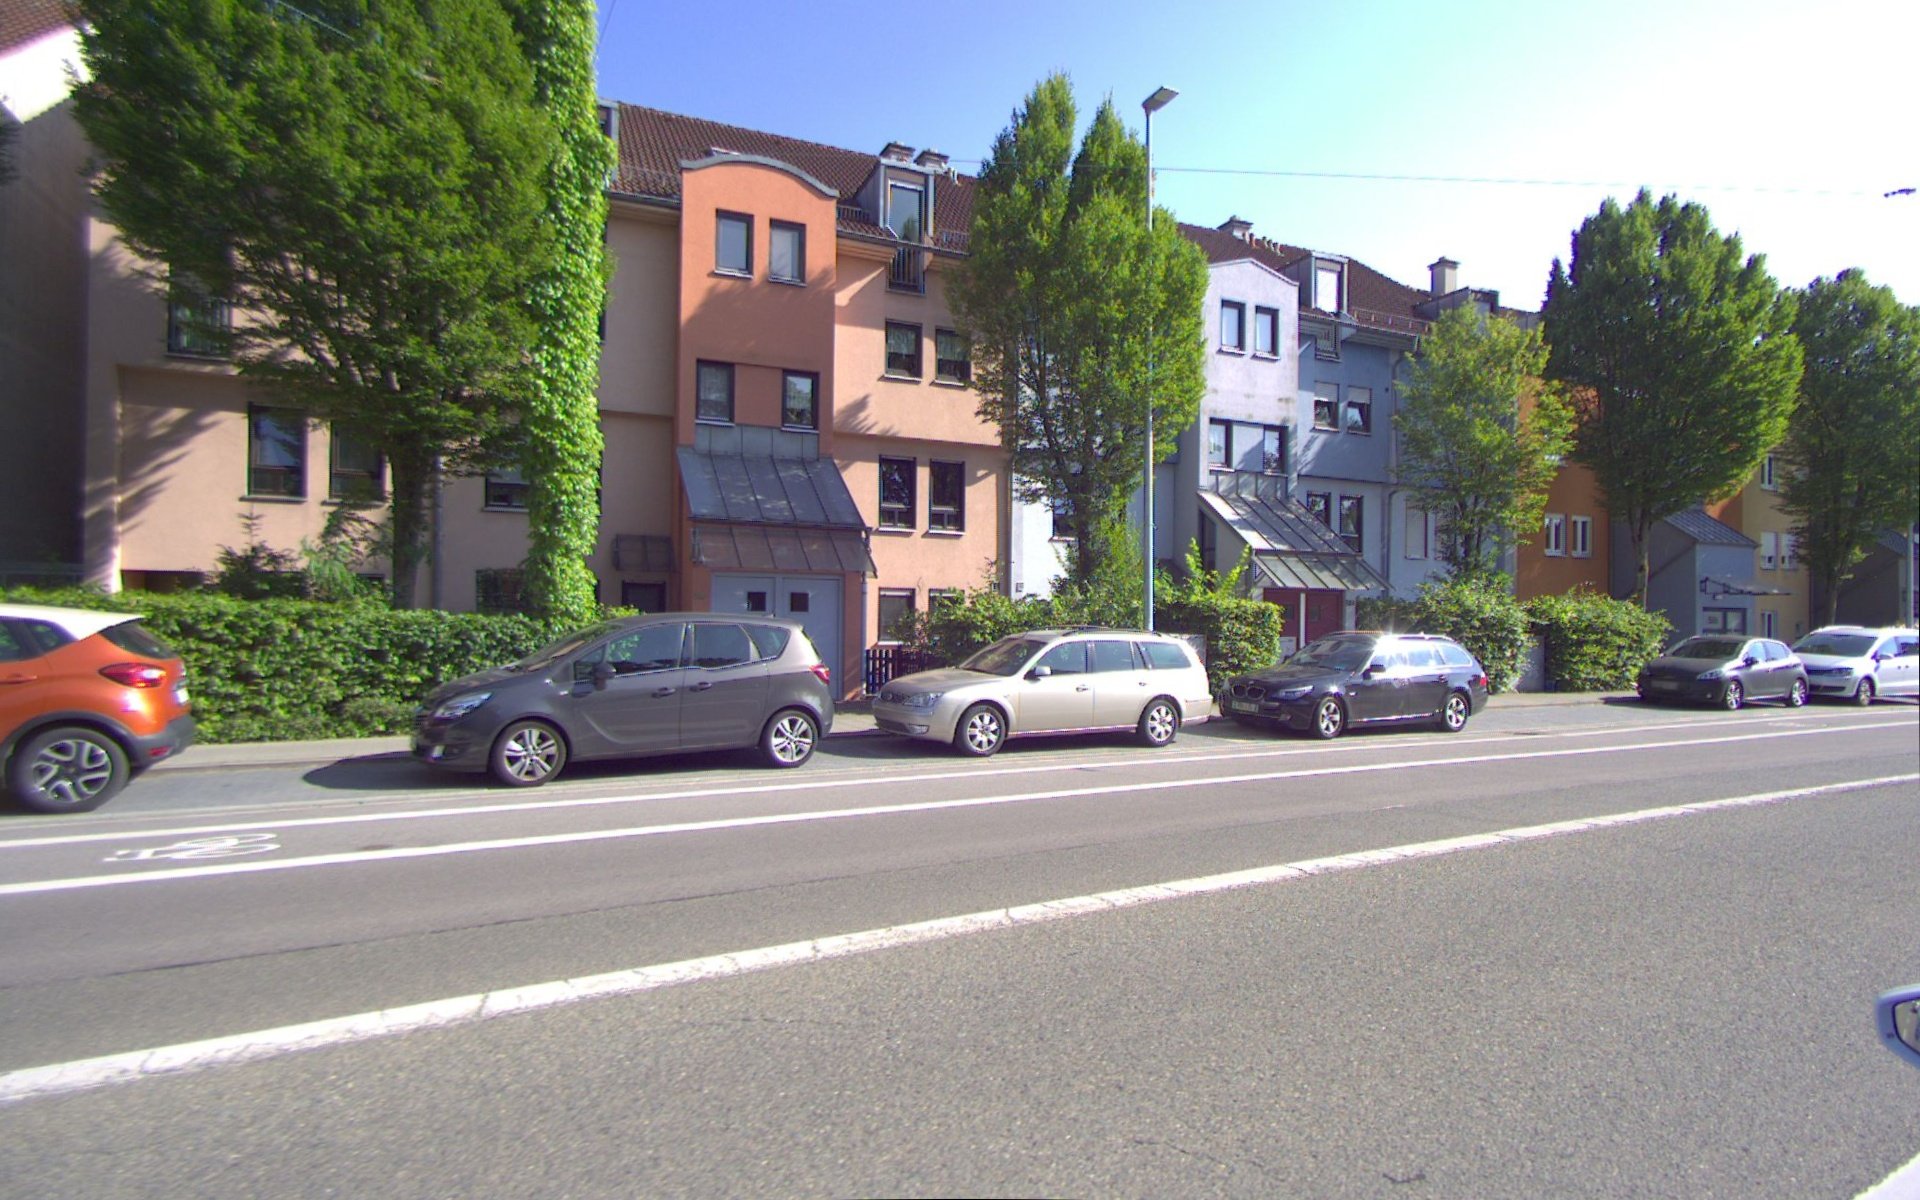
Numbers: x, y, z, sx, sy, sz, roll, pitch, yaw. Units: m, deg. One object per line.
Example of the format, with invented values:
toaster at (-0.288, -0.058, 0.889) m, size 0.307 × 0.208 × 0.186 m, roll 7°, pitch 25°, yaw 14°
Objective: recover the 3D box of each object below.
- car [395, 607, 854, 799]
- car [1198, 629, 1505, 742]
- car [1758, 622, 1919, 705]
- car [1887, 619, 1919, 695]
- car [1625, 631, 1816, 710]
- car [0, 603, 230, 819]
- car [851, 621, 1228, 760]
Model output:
car at (-3.421, 0.940, 10.556) m, size 4.254 × 1.595 × 1.751 m, roll 1°, pitch 1°, yaw -34°
car at (6.234, 1.263, 15.859) m, size 4.846 × 1.491 × 1.703 m, roll 1°, pitch 1°, yaw -27°
car at (20.957, 1.440, 23.440) m, size 4.757 × 1.723 × 1.663 m, roll 1°, pitch 1°, yaw -25°
car at (26.504, 1.526, 26.231) m, size 4.519 × 1.871 × 1.756 m, roll 1°, pitch 3°, yaw -26°
car at (16.156, 1.439, 21.314) m, size 4.005 × 1.485 × 1.610 m, roll 1°, pitch 0°, yaw -27°
car at (-8.297, 0.807, 7.746) m, size 4.115 × 1.594 × 1.753 m, roll 2°, pitch -1°, yaw -31°
car at (1.133, 1.105, 13.174) m, size 4.787 × 1.491 × 1.704 m, roll 2°, pitch 0°, yaw -30°
